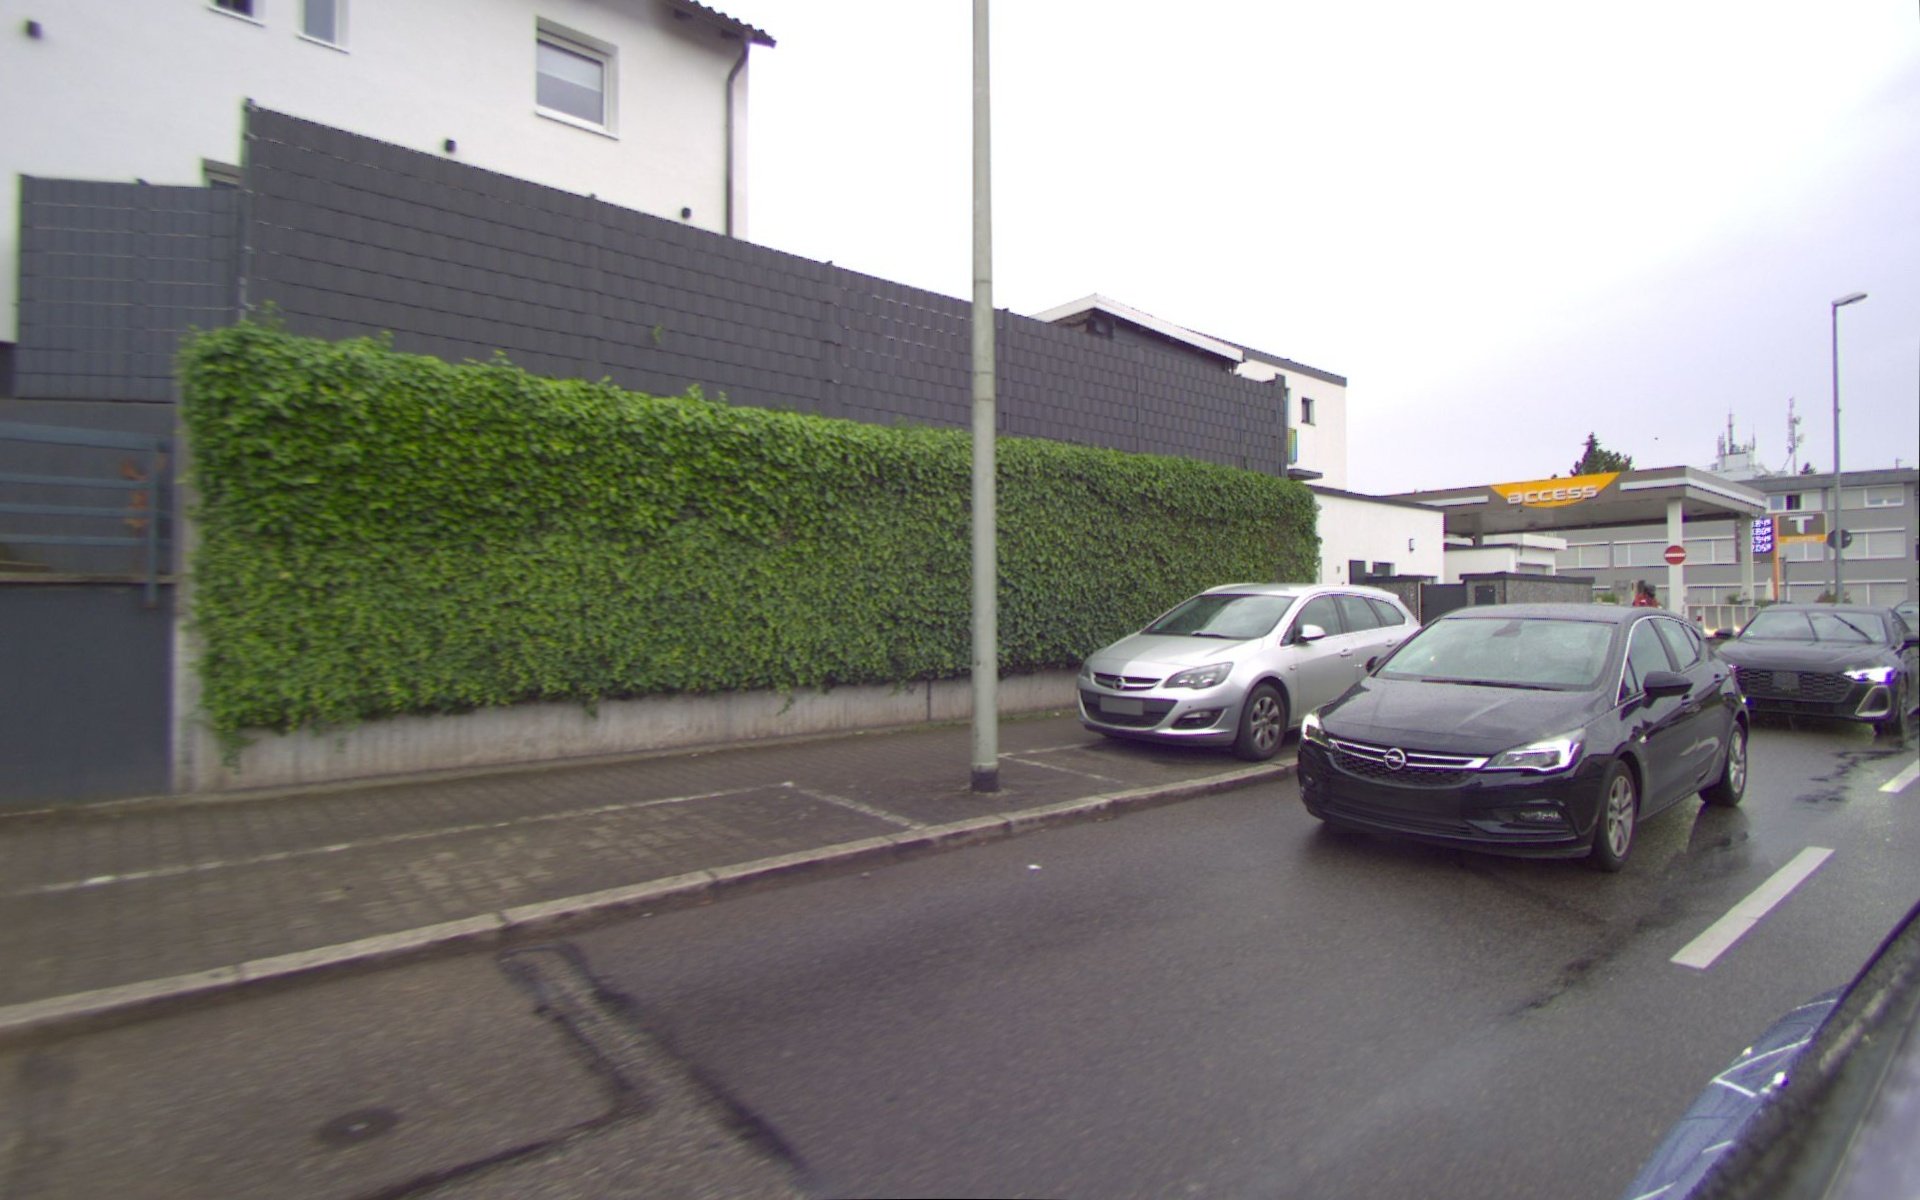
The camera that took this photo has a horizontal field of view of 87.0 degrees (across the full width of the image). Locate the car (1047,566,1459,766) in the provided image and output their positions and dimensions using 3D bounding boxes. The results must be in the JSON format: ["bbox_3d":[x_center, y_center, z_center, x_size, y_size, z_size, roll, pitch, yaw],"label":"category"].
[{"bbox_3d":[3.015,0.484,9.859,4.455,1.529,1.703,-1,0,-41],"label":"car"}]

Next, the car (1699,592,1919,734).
[{"bbox_3d":[11.046,0.638,12.653,4.655,1.442,1.869,-1,0,-40],"label":"car"}]

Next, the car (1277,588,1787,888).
[{"bbox_3d":[4.059,0.668,6.929,3.929,1.468,1.760,-1,0,-40],"label":"car"}]

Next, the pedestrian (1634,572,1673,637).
[{"bbox_3d":[18.002,0.111,26.274,0.601,1.677,0.585,-1,-1,5],"label":"pedestrian"}]

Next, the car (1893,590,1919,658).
[{"bbox_3d":[23.783,0.528,24.066,3.929,1.538,1.871,-1,0,-40],"label":"car"}]

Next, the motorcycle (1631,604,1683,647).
[{"bbox_3d":[18.002,0.649,26.169,0.455,1.069,1.389,-1,0,4],"label":"motorcycle"}]

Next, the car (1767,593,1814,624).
[{"bbox_3d":[46.853,0.445,57.070,1.809,1.546,3.940,4,3,42],"label":"car"}]
